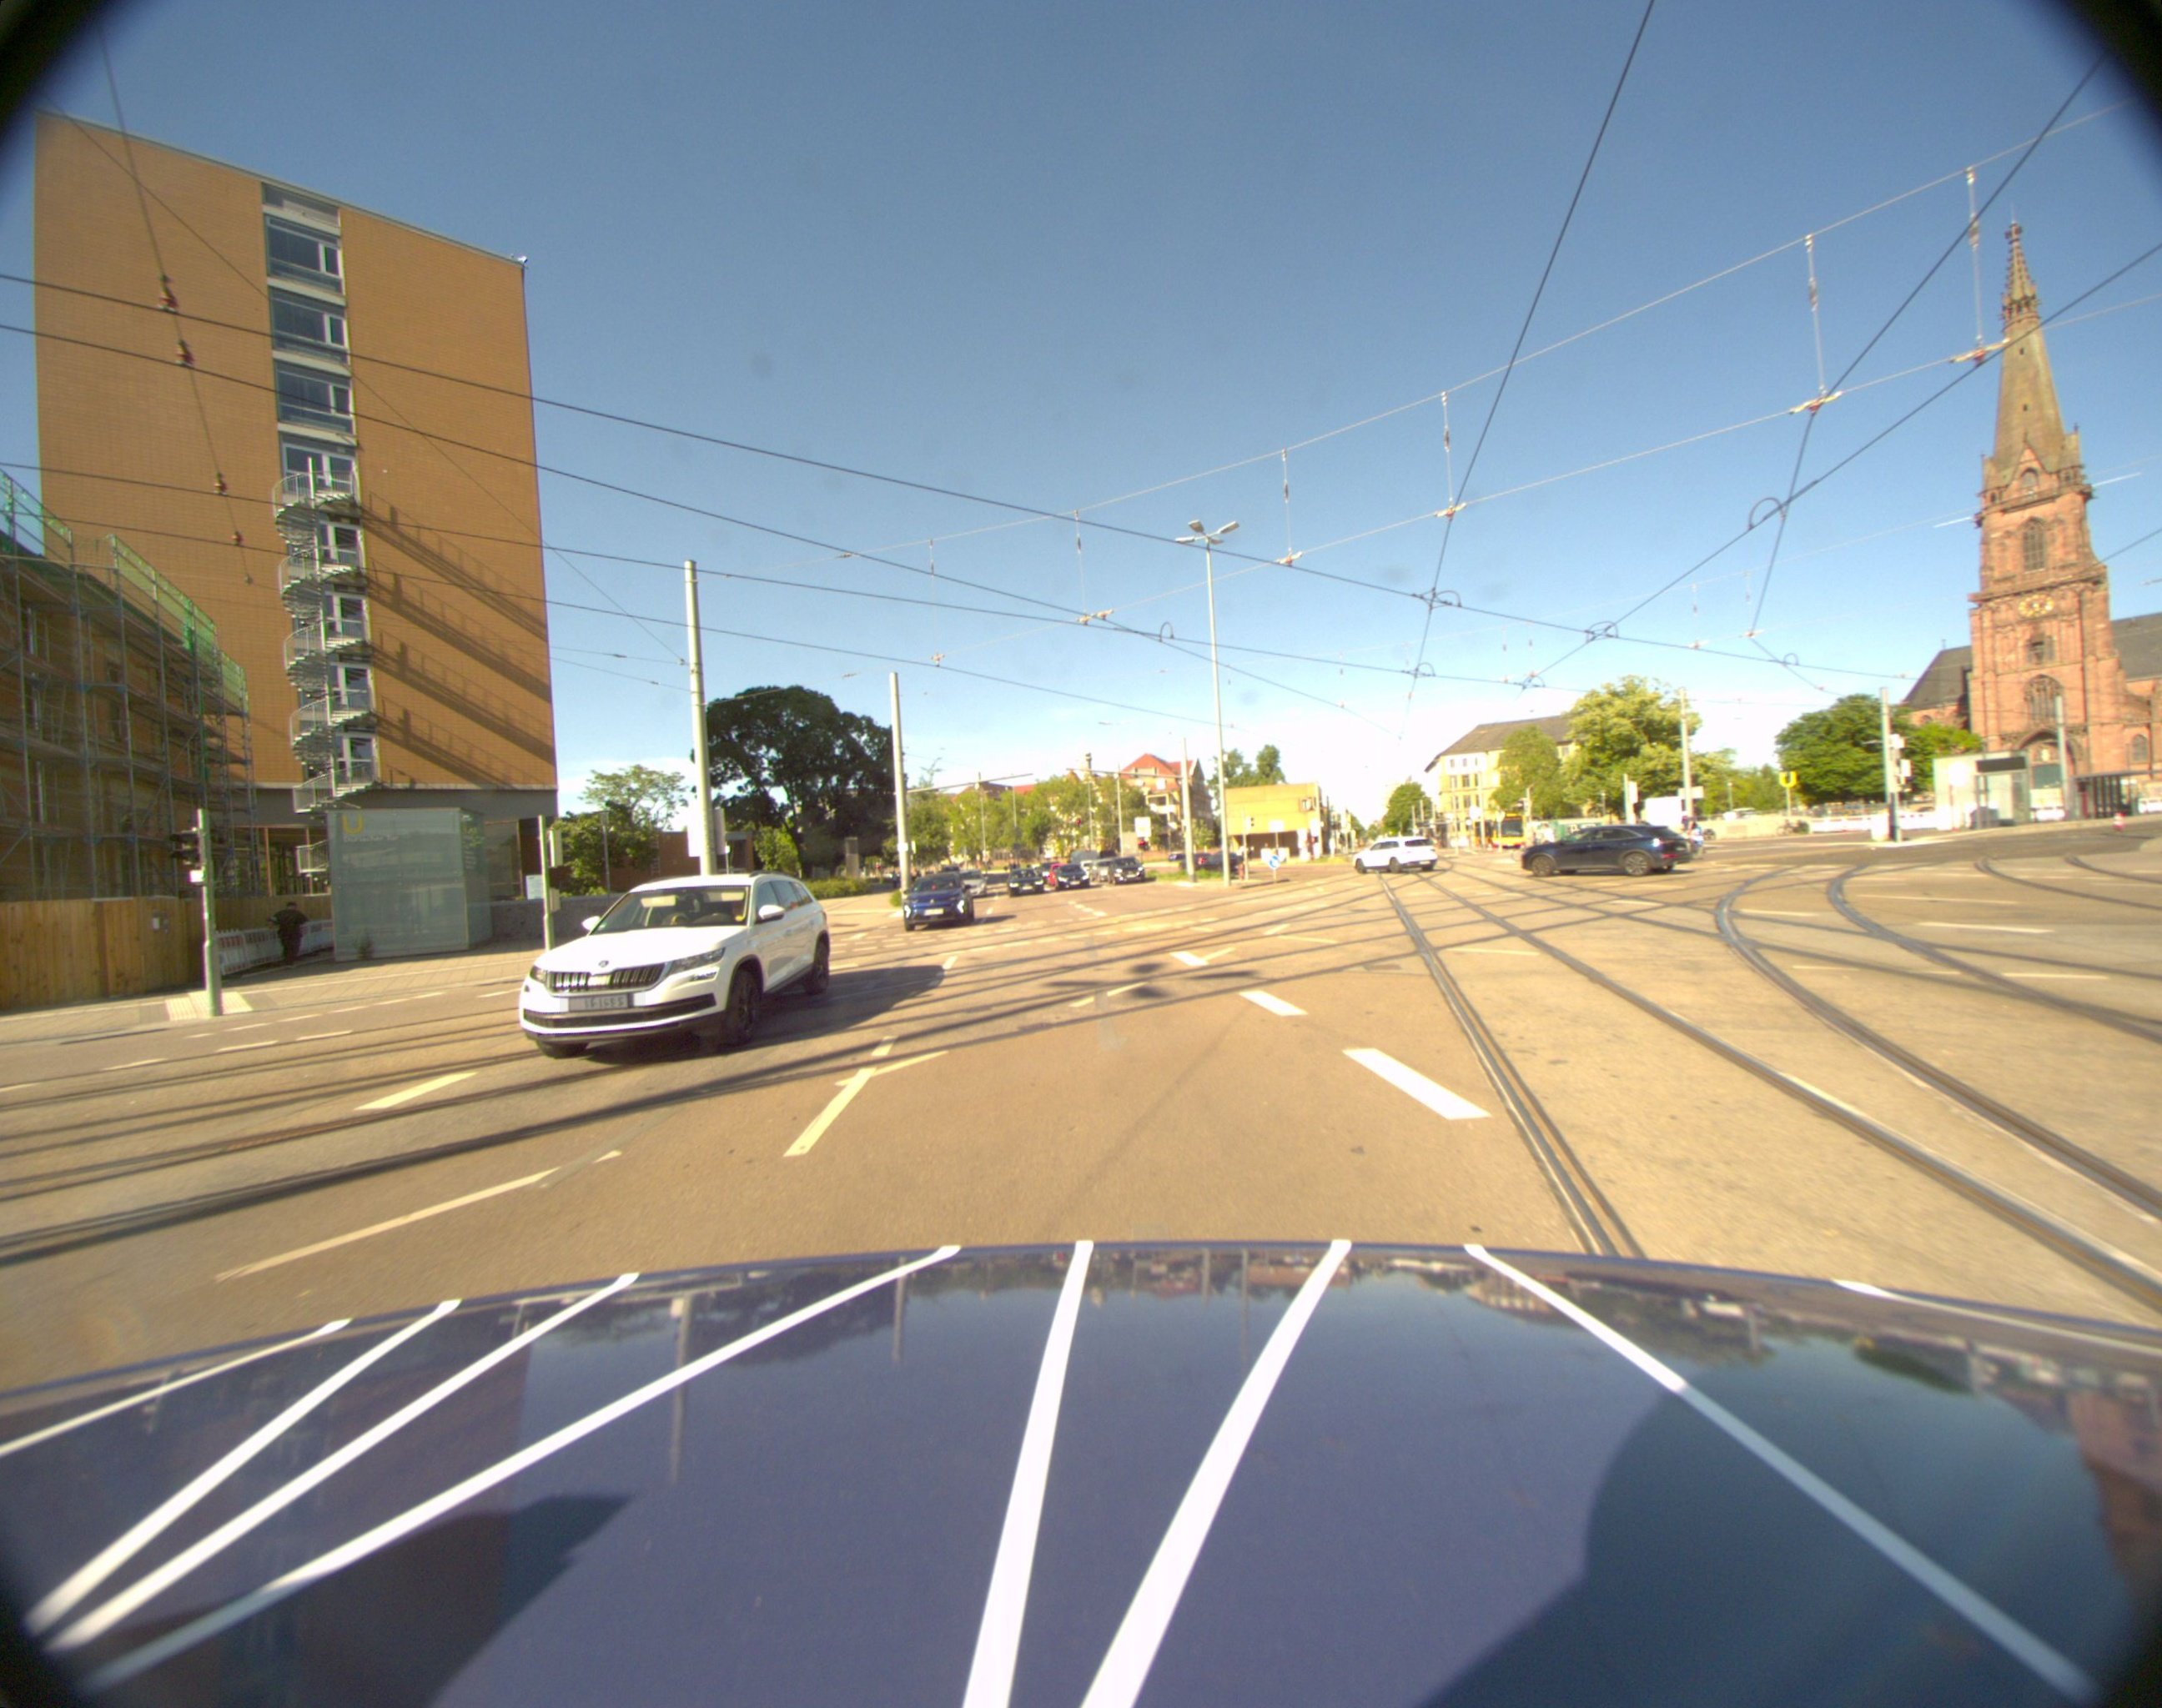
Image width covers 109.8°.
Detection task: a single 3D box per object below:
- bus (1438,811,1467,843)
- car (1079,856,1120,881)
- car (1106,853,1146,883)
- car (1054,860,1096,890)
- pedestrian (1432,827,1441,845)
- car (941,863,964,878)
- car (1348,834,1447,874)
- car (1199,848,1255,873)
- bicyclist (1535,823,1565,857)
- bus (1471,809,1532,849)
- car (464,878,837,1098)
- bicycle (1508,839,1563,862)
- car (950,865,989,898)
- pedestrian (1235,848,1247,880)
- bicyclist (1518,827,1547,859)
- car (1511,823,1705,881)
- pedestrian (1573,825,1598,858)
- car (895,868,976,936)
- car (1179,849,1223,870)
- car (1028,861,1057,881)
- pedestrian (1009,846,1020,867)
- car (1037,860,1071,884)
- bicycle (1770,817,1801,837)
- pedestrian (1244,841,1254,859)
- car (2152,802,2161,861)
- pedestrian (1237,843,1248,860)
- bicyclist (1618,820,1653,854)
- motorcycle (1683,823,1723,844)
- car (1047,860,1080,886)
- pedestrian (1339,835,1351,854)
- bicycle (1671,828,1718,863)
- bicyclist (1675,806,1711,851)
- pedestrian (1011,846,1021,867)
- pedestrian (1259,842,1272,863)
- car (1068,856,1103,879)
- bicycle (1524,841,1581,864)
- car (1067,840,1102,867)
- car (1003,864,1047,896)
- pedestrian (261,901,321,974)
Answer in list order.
[{"bbox_3d":[39.872,-2.862,81.740,2.137,3.028,8.571,-5,-1,23],"label":"bus"},{"bbox_3d":[1.198,0.952,50.909,1.825,1.450,4.658,-6,0,-8],"label":"car"},{"bbox_3d":[2.582,0.764,44.546,1.686,1.523,3.913,-5,0,-5],"label":"car"},{"bbox_3d":[-0.402,1.159,43.386,1.887,1.450,4.010,-5,0,-6],"label":"car"},{"bbox_3d":[38.624,-1.927,82.611,0.690,1.850,0.730,-5,1,25],"label":"pedestrian"},{"bbox_3d":[-13.566,1.723,79.898,1.923,1.450,4.664,-6,0,-13],"label":"car"},{"bbox_3d":[14.725,0.027,35.713,2.004,1.631,4.561,-4,0,-12],"label":"car"},{"bbox_3d":[9.448,0.443,49.516,1.852,1.408,4.476,-4,0,-13],"label":"car"},{"bbox_3d":[22.668,-0.686,36.755,0.996,1.540,0.595,-4,1,-7],"label":"bicyclist"},{"bbox_3d":[38.946,-2.463,70.787,2.845,3.104,11.830,-5,2,20],"label":"bus"},{"bbox_3d":[-4.244,1.167,8.477,1.869,1.635,4.395,-3,-1,-5],"label":"car"},{"bbox_3d":[22.665,-0.154,37.859,2.476,0.984,0.615,-4,0,-8],"label":"bicycle"},{"bbox_3d":[-6.305,1.531,43.468,1.887,1.620,4.010,-5,0,-6],"label":"car"},{"bbox_3d":[8.074,0.490,38.313,0.372,1.547,0.644,-5,1,2],"label":"pedestrian"},{"bbox_3d":[22.484,-0.554,37.847,0.956,1.520,0.576,-6,1,-8],"label":"bicyclist"},{"bbox_3d":[16.777,-0.015,24.426,2.047,1.568,4.619,-5,1,-34],"label":"car"},{"bbox_3d":[26.219,-0.644,39.489,0.714,1.598,0.608,-5,1,-5],"label":"pedestrian"},{"bbox_3d":[-4.227,1.349,22.692,1.887,1.620,4.010,-5,0,-6],"label":"car"},{"bbox_3d":[9.635,0.470,61.510,1.888,1.450,4.641,-5,0,-12],"label":"car"},{"bbox_3d":[-3.230,1.387,63.662,1.761,1.447,4.118,-6,0,-11],"label":"car"},{"bbox_3d":[-7.841,0.312,89.692,0.876,2.421,0.889,-6,1,-12],"label":"pedestrian"},{"bbox_3d":[-2.044,1.279,56.028,1.761,1.525,4.118,-6,0,-11],"label":"car"},{"bbox_3d":[48.954,-1.866,52.810,1.498,1.262,0.366,-5,1,25],"label":"bicycle"},{"bbox_3d":[17.098,-0.430,77.228,0.643,1.702,0.703,-5,1,35],"label":"pedestrian"},{"bbox_3d":[28.958,-0.724,18.610,4.603,1.449,1.911,-4,1,-19],"label":"car"},{"bbox_3d":[16.656,-0.283,78.356,0.748,1.702,0.703,-5,1,35],"label":"pedestrian"},{"bbox_3d":[22.507,-0.677,30.865,0.795,1.315,0.759,-4,0,-14],"label":"bicyclist"},{"bbox_3d":[44.527,-1.464,54.386,2.102,1.246,0.535,-5,1,20],"label":"motorcycle"},{"bbox_3d":[-1.212,1.229,50.584,1.714,1.450,4.010,-5,0,-7],"label":"car"},{"bbox_3d":[27.003,-1.000,77.707,0.857,1.870,0.694,-5,1,29],"label":"pedestrian"},{"bbox_3d":[23.866,-0.341,29.550,1.966,1.249,0.615,-4,1,-27],"label":"bicycle"},{"bbox_3d":[23.800,-0.972,29.542,0.796,1.665,0.758,-4,0,-27],"label":"bicyclist"},{"bbox_3d":[-7.605,0.313,88.695,0.876,2.406,0.889,-6,1,-12],"label":"pedestrian"},{"bbox_3d":[16.671,-0.160,68.645,0.857,1.818,0.703,-5,1,29],"label":"pedestrian"},{"bbox_3d":[0.285,1.010,58.072,1.825,1.450,4.658,-6,0,-8],"label":"car"},{"bbox_3d":[22.806,-0.079,36.768,2.476,0.984,0.615,-4,0,-8],"label":"bicycle"},{"bbox_3d":[0.362,-0.044,83.133,2.245,2.665,5.300,-6,0,-15],"label":"car"},{"bbox_3d":[-3.107,1.368,41.170,1.922,1.450,3.863,-6,0,-9],"label":"car"},{"bbox_3d":[-20.716,2.166,19.942,0.778,1.777,0.829,-6,1,-31],"label":"pedestrian"}]
